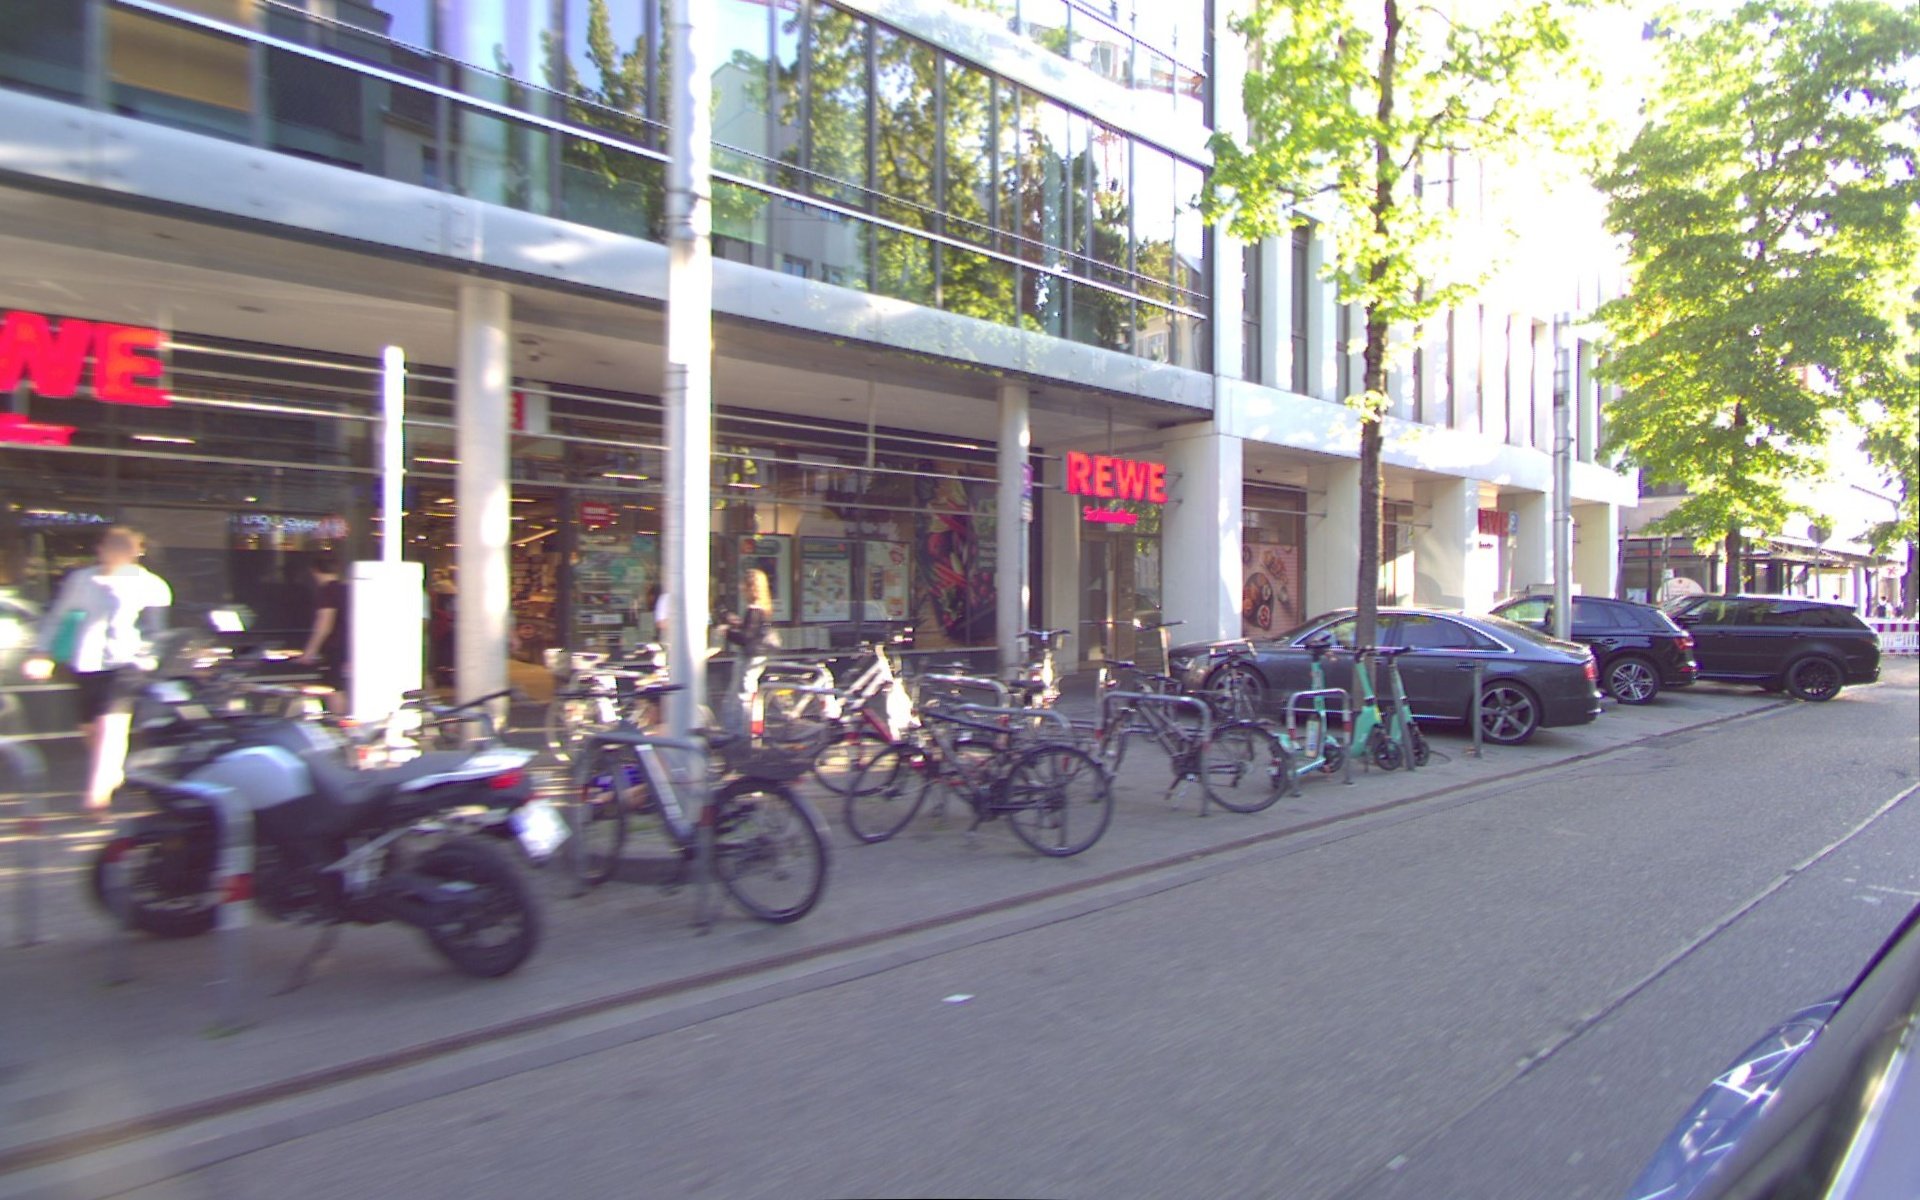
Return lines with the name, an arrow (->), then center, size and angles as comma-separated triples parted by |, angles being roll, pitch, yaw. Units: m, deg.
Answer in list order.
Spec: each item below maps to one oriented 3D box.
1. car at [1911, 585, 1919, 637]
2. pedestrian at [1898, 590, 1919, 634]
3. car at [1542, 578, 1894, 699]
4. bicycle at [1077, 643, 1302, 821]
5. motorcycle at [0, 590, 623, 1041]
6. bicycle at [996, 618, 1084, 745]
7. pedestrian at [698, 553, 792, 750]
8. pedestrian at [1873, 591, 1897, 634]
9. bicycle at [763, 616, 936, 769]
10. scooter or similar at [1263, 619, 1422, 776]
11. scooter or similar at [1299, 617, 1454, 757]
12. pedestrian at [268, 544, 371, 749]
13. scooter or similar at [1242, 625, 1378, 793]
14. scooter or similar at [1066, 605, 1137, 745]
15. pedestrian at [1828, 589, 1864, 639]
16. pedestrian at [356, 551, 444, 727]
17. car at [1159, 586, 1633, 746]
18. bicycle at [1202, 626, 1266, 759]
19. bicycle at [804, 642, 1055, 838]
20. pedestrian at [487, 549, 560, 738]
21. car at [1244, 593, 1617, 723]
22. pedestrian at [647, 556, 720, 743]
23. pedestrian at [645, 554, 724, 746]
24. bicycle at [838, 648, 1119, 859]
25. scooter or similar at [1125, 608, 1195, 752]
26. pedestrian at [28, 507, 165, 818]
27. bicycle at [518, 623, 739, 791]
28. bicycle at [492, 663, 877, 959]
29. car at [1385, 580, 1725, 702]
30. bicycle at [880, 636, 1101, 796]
car -> 35.008, 0.408, 35.403 | 4.821, 1.759, 2.027 | 0, 3, -41
pedestrian -> 40.973, 0.500, 43.655 | 0.623, 1.854, 0.706 | 0, 0, -39
car -> 13.308, 0.582, 18.201 | 4.613, 1.785, 1.980 | 3, 2, 22
bicycle -> 1.781, 0.959, 7.810 | 1.545, 1.102, 0.863 | 3, 1, 21
motorcycle -> -2.675, 0.769, 4.200 | 2.280, 1.528, 0.858 | 2, 2, 8
bicycle -> 0.904, 0.827, 11.005 | 0.617, 1.144, 1.881 | 2, 2, 14
pedestrian -> -1.975, 0.450, 9.284 | 0.677, 1.718, 0.542 | 0, -1, 39
pedestrian -> 40.355, 0.545, 44.154 | 0.623, 1.854, 0.689 | 0, 0, -39
bicycle -> -0.980, 0.786, 9.090 | 1.254, 1.187, 0.862 | 3, 1, 21
scooter or similar -> 3.563, 0.880, 9.502 | 1.291, 1.291, 0.561 | 3, 3, 20
scooter or similar -> 4.139, 0.855, 10.103 | 1.281, 1.291, 0.459 | 2, 3, -2
pedestrian -> -5.801, 0.391, 9.165 | 0.622, 1.765, 0.592 | 2, 1, 36
scooter or similar -> 3.026, 0.892, 8.701 | 1.284, 1.291, 0.452 | 0, 4, -40
scooter or similar -> 1.554, 0.752, 10.939 | 0.554, 1.309, 1.674 | 2, 2, 13
pedestrian -> 34.684, 0.522, 39.615 | 0.900, 1.921, 0.836 | 0, 1, -37
pedestrian -> -5.866, 0.382, 10.604 | 0.622, 1.765, 0.592 | 2, 1, 36
car -> 5.099, 0.693, 12.591 | 4.990, 1.487, 1.968 | 3, 2, 16
bicycle -> 2.817, 0.893, 10.440 | 0.544, 1.121, 1.841 | 2, 2, 15
bicycle -> -0.229, 0.939, 7.241 | 1.677, 1.119, 0.627 | 3, 3, 25
pedestrian -> -4.281, 0.401, 9.919 | 0.515, 1.772, 0.558 | 0, 2, -39
car -> 6.699, 0.709, 14.706 | 4.629, 1.443, 1.913 | 3, 2, 31
pedestrian -> -2.651, 0.453, 9.697 | 0.539, 1.718, 0.518 | 0, -1, -35
pedestrian -> -2.647, 0.456, 9.712 | 0.548, 1.772, 0.525 | 0, 2, -37
bicycle -> 0.109, 0.940, 6.365 | 1.663, 1.177, 0.481 | 2, 2, 1
scooter or similar -> 2.146, 0.784, 10.735 | 0.622, 1.309, 1.674 | 2, 2, 13
pedestrian -> -5.737, 0.380, 6.754 | 0.651, 1.942, 0.585 | 0, 2, -37
bicycle -> -2.711, 0.816, 8.227 | 1.761, 1.119, 0.627 | 3, 3, 26
bicycle -> -1.416, 0.974, 5.140 | 1.875, 1.133, 0.662 | 2, 2, 23
car -> 9.750, 0.575, 17.036 | 4.623, 1.675, 1.989 | 3, 2, 28
bicycle -> 0.254, 0.913, 8.423 | 1.655, 1.088, 0.727 | 3, 1, 21
